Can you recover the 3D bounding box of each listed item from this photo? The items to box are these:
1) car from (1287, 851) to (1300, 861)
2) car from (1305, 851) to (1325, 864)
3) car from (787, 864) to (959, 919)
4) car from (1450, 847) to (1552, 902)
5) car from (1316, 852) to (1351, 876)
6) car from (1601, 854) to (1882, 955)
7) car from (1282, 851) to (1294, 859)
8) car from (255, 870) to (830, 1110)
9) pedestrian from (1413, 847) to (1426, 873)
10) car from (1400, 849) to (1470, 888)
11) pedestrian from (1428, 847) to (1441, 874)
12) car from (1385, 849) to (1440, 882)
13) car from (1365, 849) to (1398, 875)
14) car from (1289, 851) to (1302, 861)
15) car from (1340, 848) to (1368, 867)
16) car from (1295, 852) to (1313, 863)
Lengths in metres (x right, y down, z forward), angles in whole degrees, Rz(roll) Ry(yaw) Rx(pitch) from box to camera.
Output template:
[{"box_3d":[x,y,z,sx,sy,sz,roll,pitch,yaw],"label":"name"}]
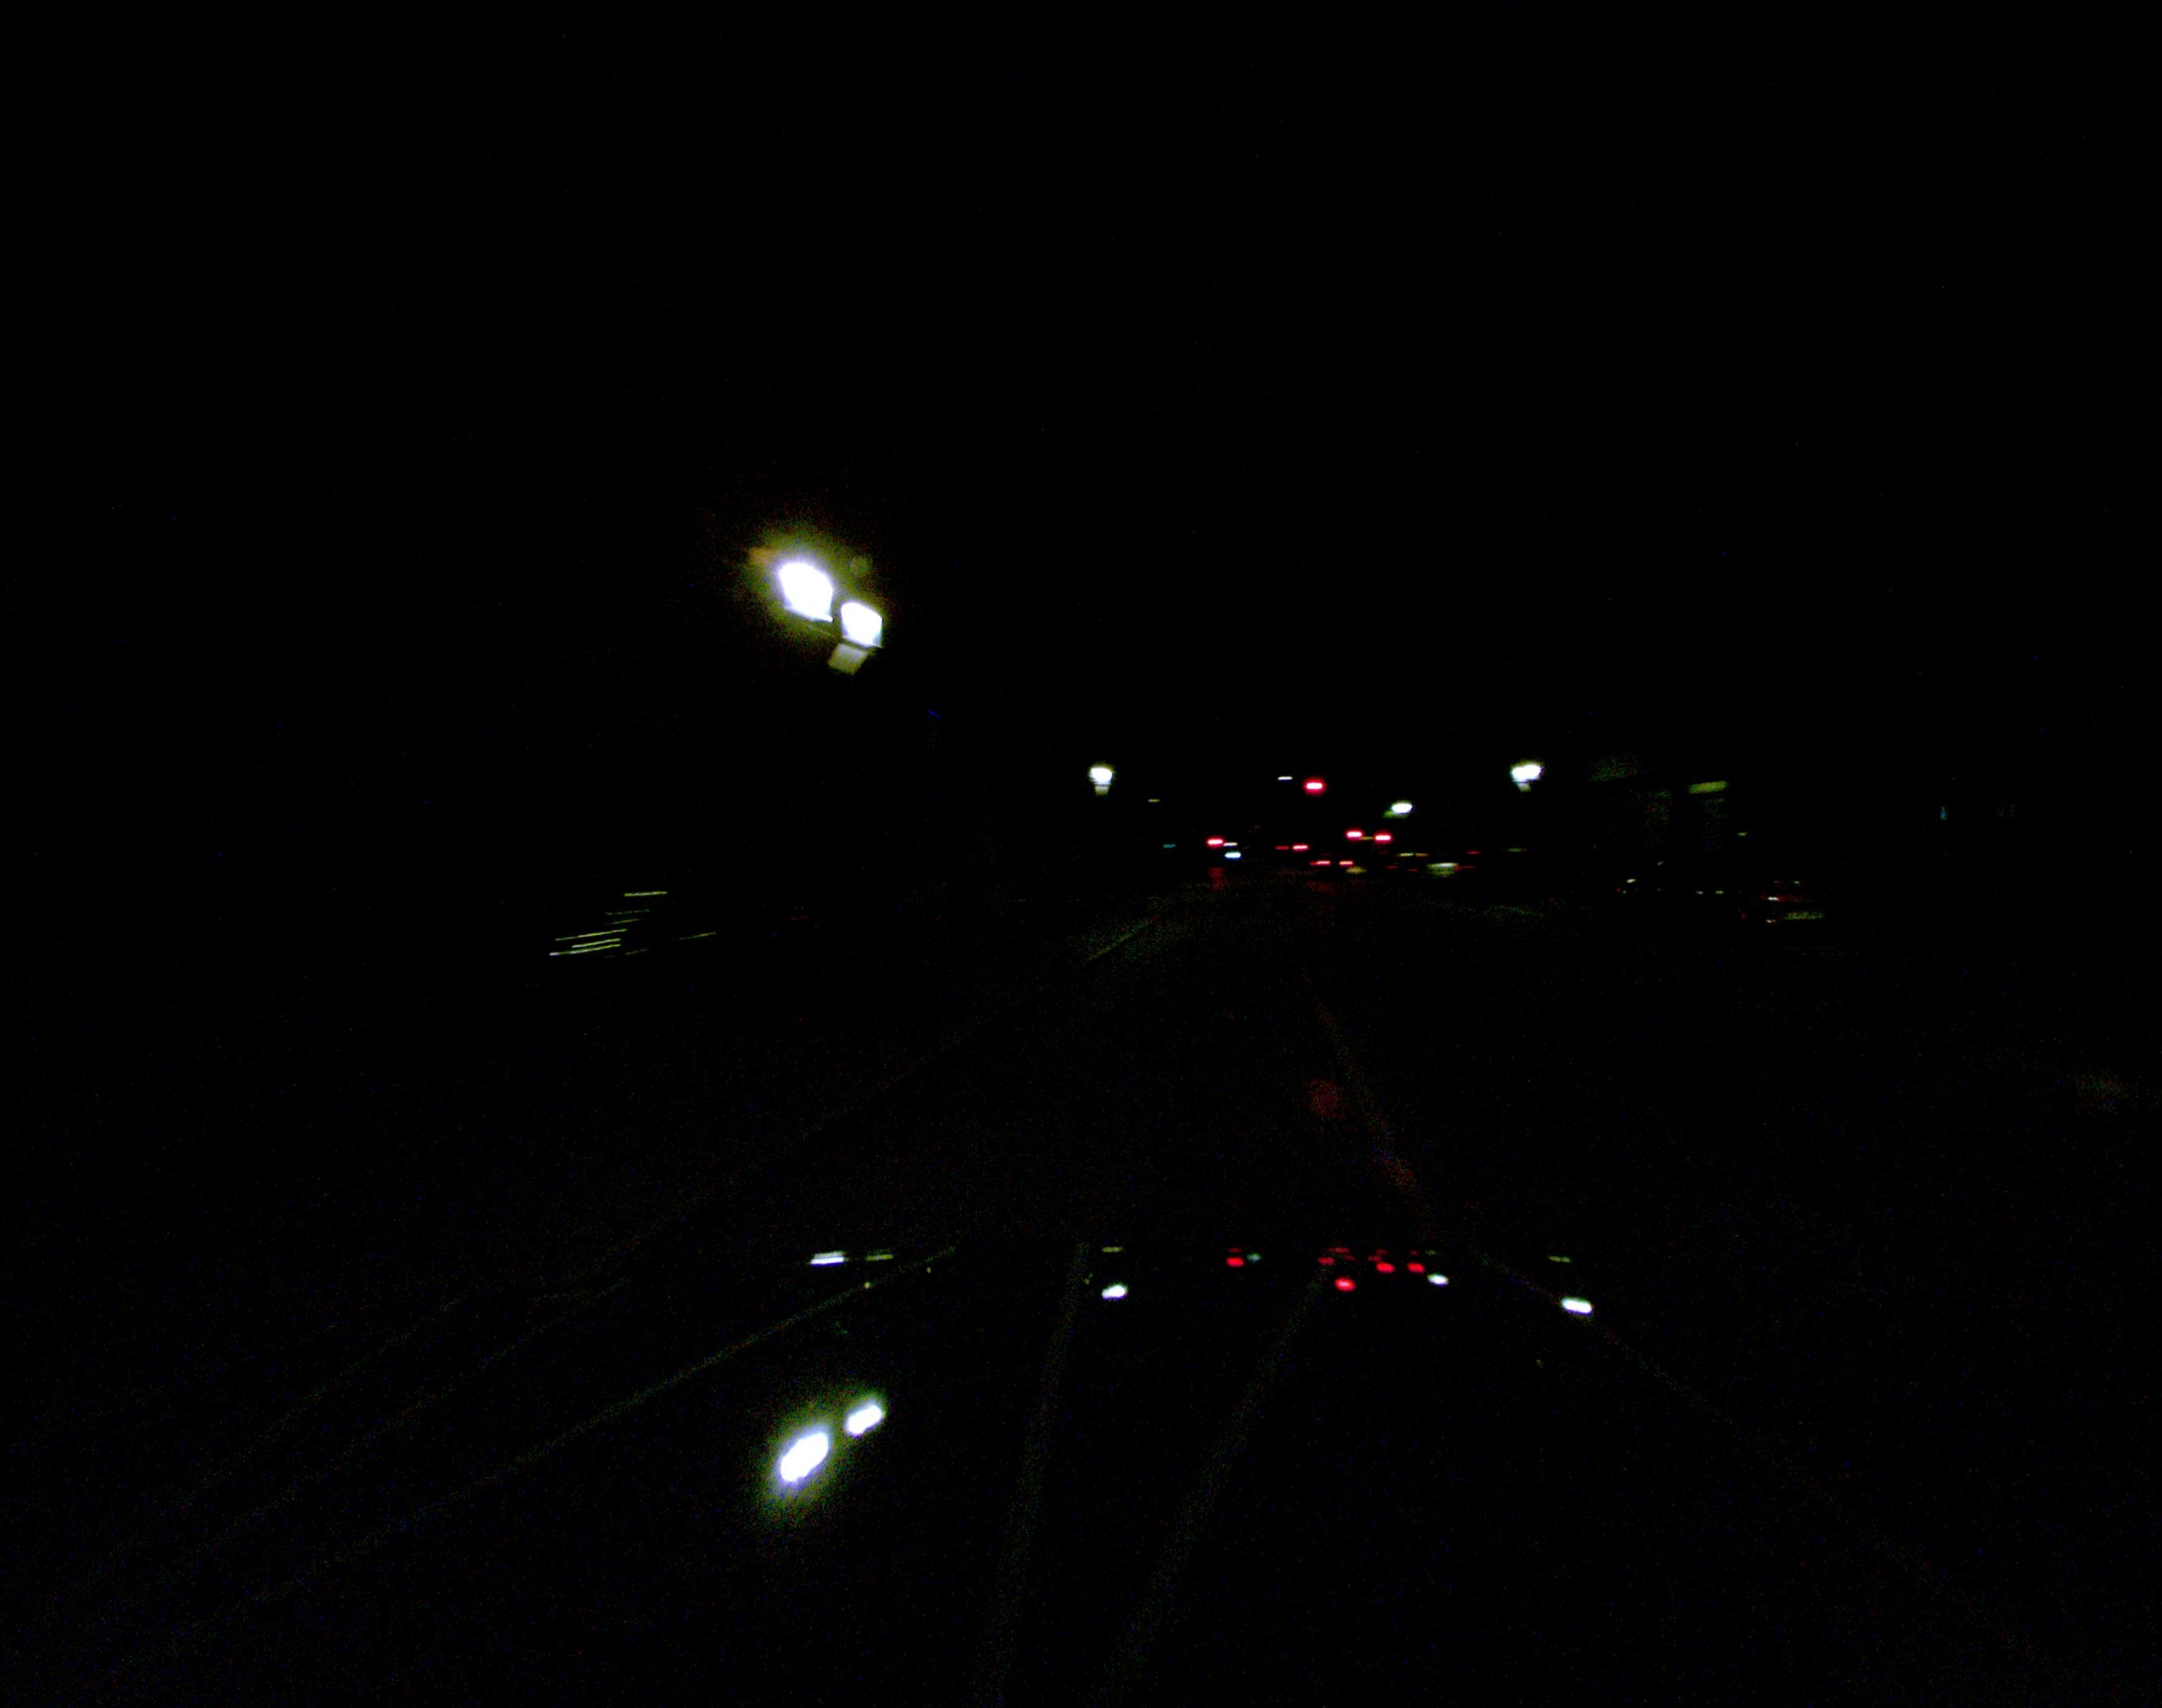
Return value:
[{"box_3d":[33.364,0.275,119.276,1.641,1.425,4.354,-3,0,12],"label":"car"},{"box_3d":[27.248,0.361,88.689,1.864,1.425,4.447,-2,0,12],"label":"car"},{"box_3d":[-5.870,1.010,21.516,4.432,1.451,1.792,0,0,18],"label":"car"},{"box_3d":[13.782,0.614,25.234,1.787,1.572,4.416,-4,-1,14],"label":"car"},{"box_3d":[15.888,0.601,47.919,1.718,1.421,4.004,0,0,13],"label":"car"},{"box_3d":[10.960,0.743,13.077,1.787,1.407,4.130,-3,0,11],"label":"car"},{"box_3d":[36.976,0.186,135.735,1.631,1.455,3.517,0,0,8],"label":"car"},{"box_3d":[-4.403,0.960,7.403,1.737,1.451,4.730,-2,0,8],"label":"car"},{"box_3d":[22.038,0.402,49.458,0.710,1.680,1.126,0,0,23],"label":"pedestrian"},{"box_3d":[15.384,0.606,33.238,1.787,1.482,4.003,-4,-1,11],"label":"car"},{"box_3d":[22.843,0.414,49.161,0.710,1.680,0.999,0,1,23],"label":"pedestrian"},{"box_3d":[16.767,0.554,38.611,1.787,1.482,4.334,-4,-1,14],"label":"car"},{"box_3d":[18.815,0.479,47.695,1.594,1.482,3.704,-4,-1,17],"label":"car"},{"box_3d":[32.207,0.339,114.229,1.554,1.425,4.352,-3,0,12],"label":"car"},{"box_3d":[24.326,0.293,67.834,1.889,1.587,4.028,-3,0,14],"label":"car"},{"box_3d":[31.215,0.455,106.364,1.864,1.425,4.407,-2,0,10],"label":"car"}]
